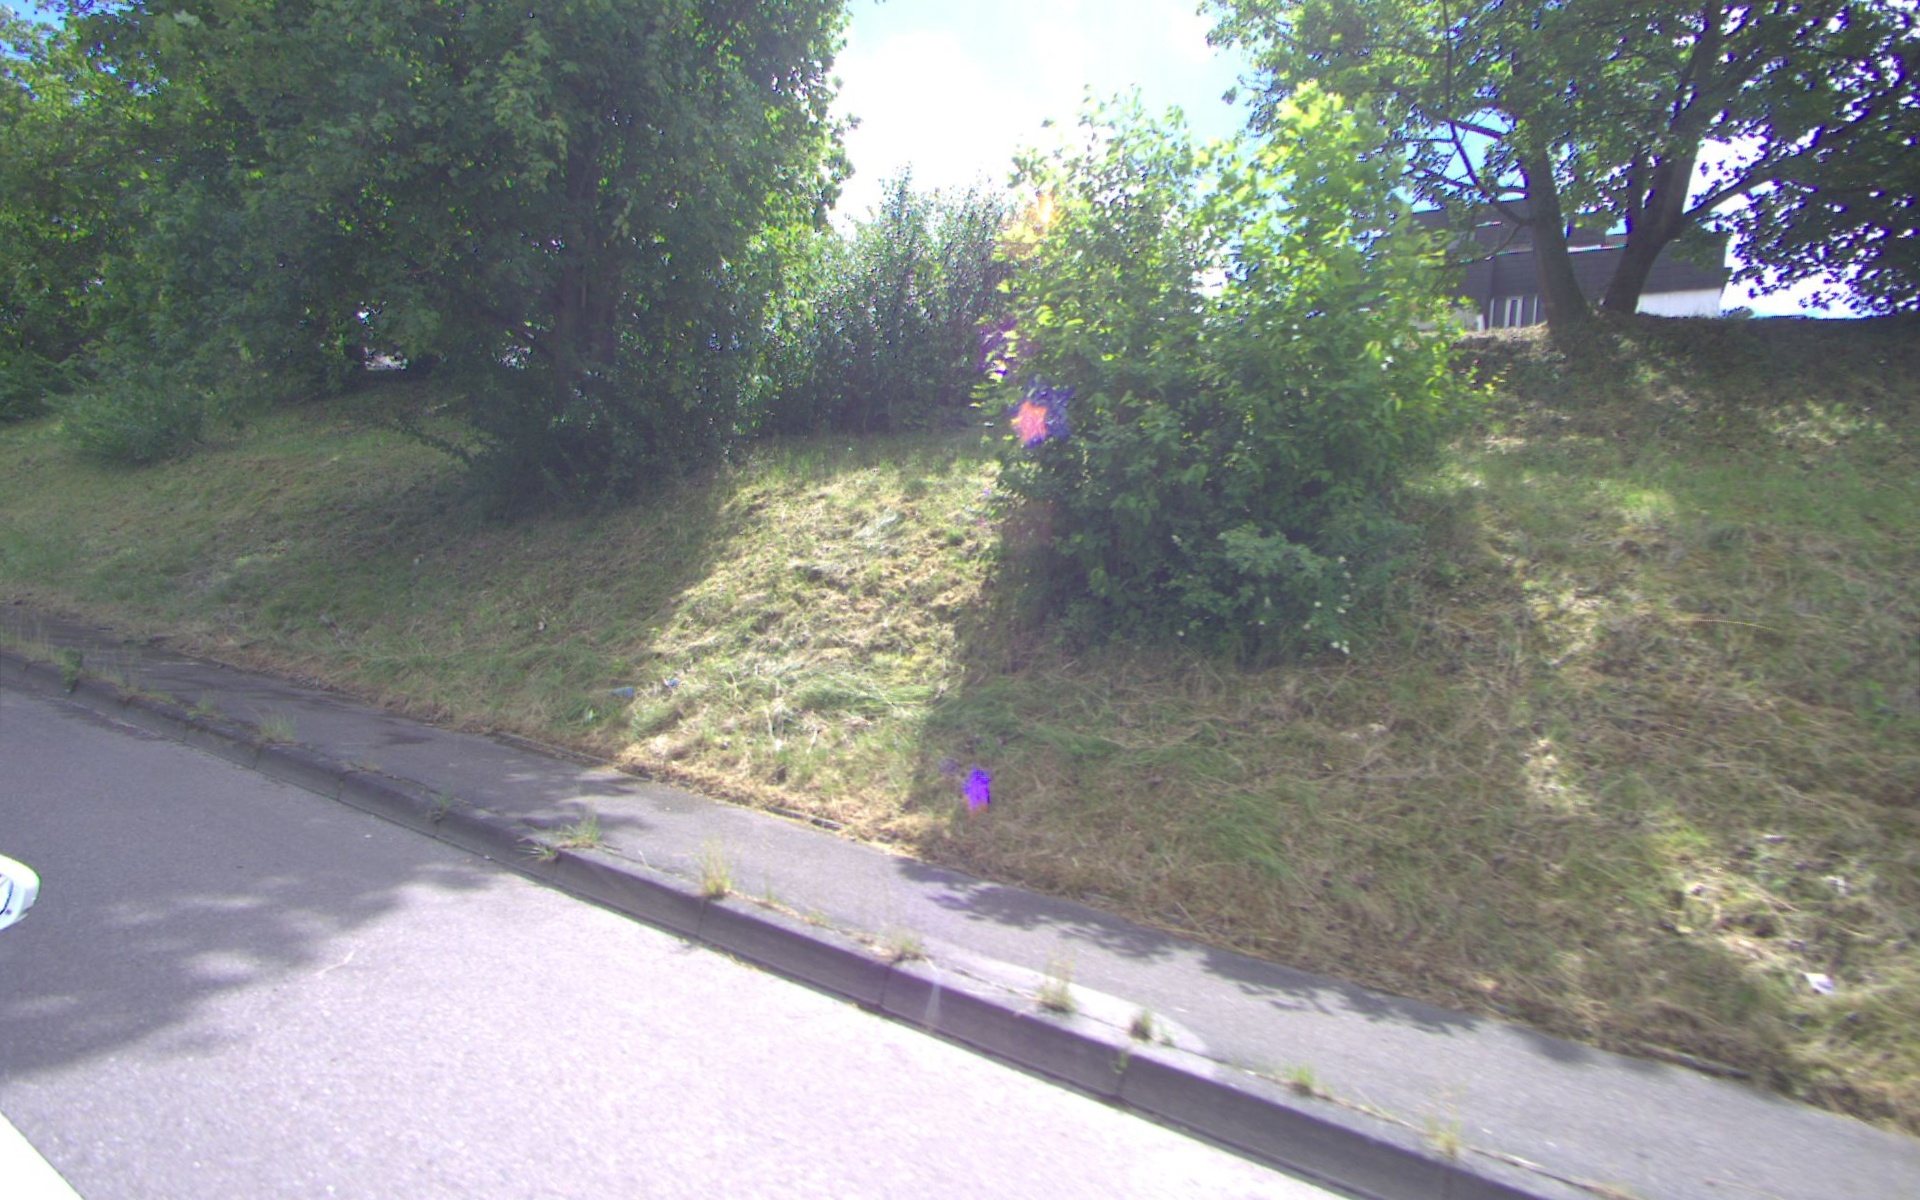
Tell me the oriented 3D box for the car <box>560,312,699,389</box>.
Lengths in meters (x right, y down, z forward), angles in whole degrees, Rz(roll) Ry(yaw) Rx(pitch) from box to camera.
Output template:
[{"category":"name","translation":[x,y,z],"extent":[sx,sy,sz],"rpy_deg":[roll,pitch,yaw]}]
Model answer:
[{"category":"car","translation":[-8.514,-6.363,25.907],"extent":[3.276,1.459,1.453],"rpy_deg":[6,-2,30]}]
